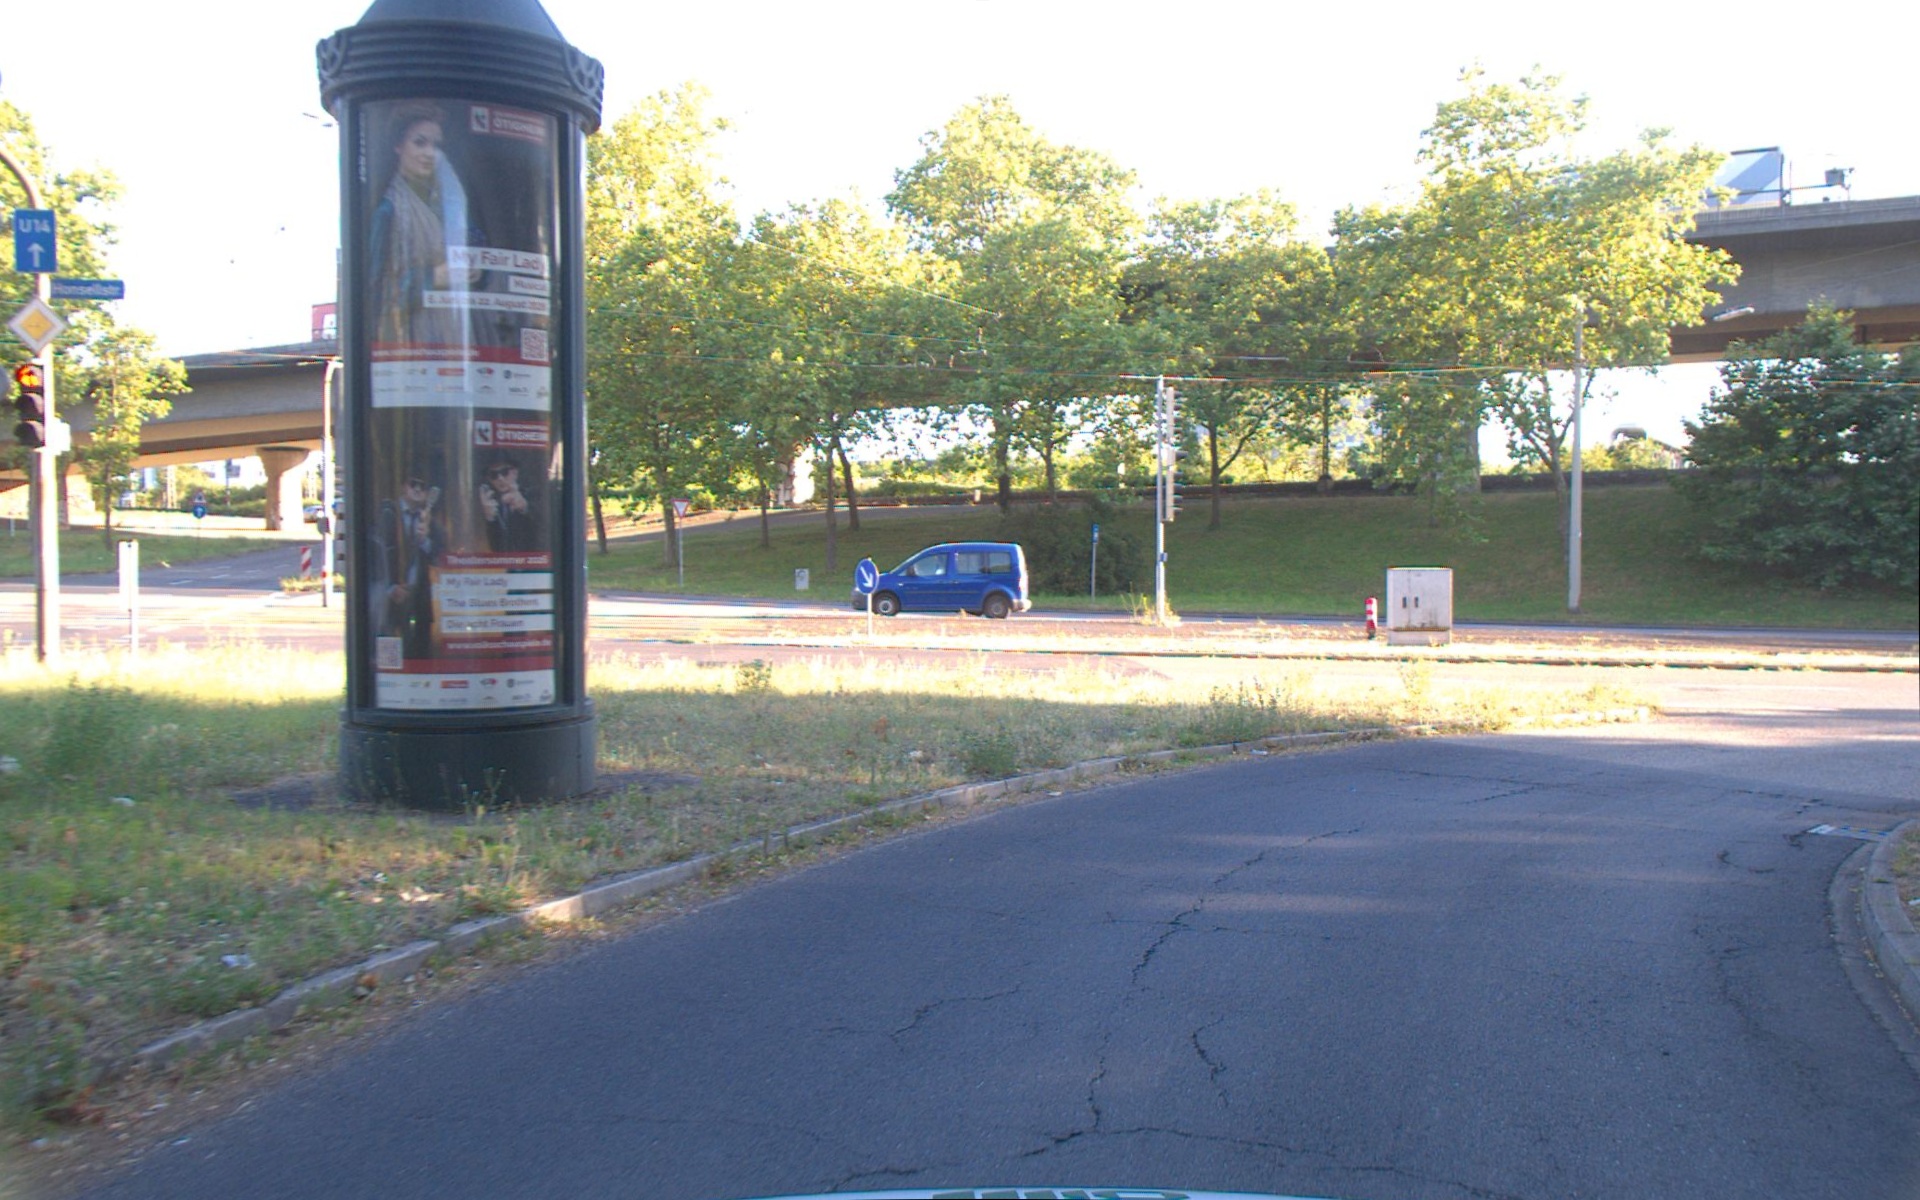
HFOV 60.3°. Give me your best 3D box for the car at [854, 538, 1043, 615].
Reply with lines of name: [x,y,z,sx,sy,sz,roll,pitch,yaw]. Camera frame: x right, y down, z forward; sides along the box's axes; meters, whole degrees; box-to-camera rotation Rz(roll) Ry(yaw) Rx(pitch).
car: [-0.302,-0.575,39.806,4.413,1.722,1.999,1,1,-2]
